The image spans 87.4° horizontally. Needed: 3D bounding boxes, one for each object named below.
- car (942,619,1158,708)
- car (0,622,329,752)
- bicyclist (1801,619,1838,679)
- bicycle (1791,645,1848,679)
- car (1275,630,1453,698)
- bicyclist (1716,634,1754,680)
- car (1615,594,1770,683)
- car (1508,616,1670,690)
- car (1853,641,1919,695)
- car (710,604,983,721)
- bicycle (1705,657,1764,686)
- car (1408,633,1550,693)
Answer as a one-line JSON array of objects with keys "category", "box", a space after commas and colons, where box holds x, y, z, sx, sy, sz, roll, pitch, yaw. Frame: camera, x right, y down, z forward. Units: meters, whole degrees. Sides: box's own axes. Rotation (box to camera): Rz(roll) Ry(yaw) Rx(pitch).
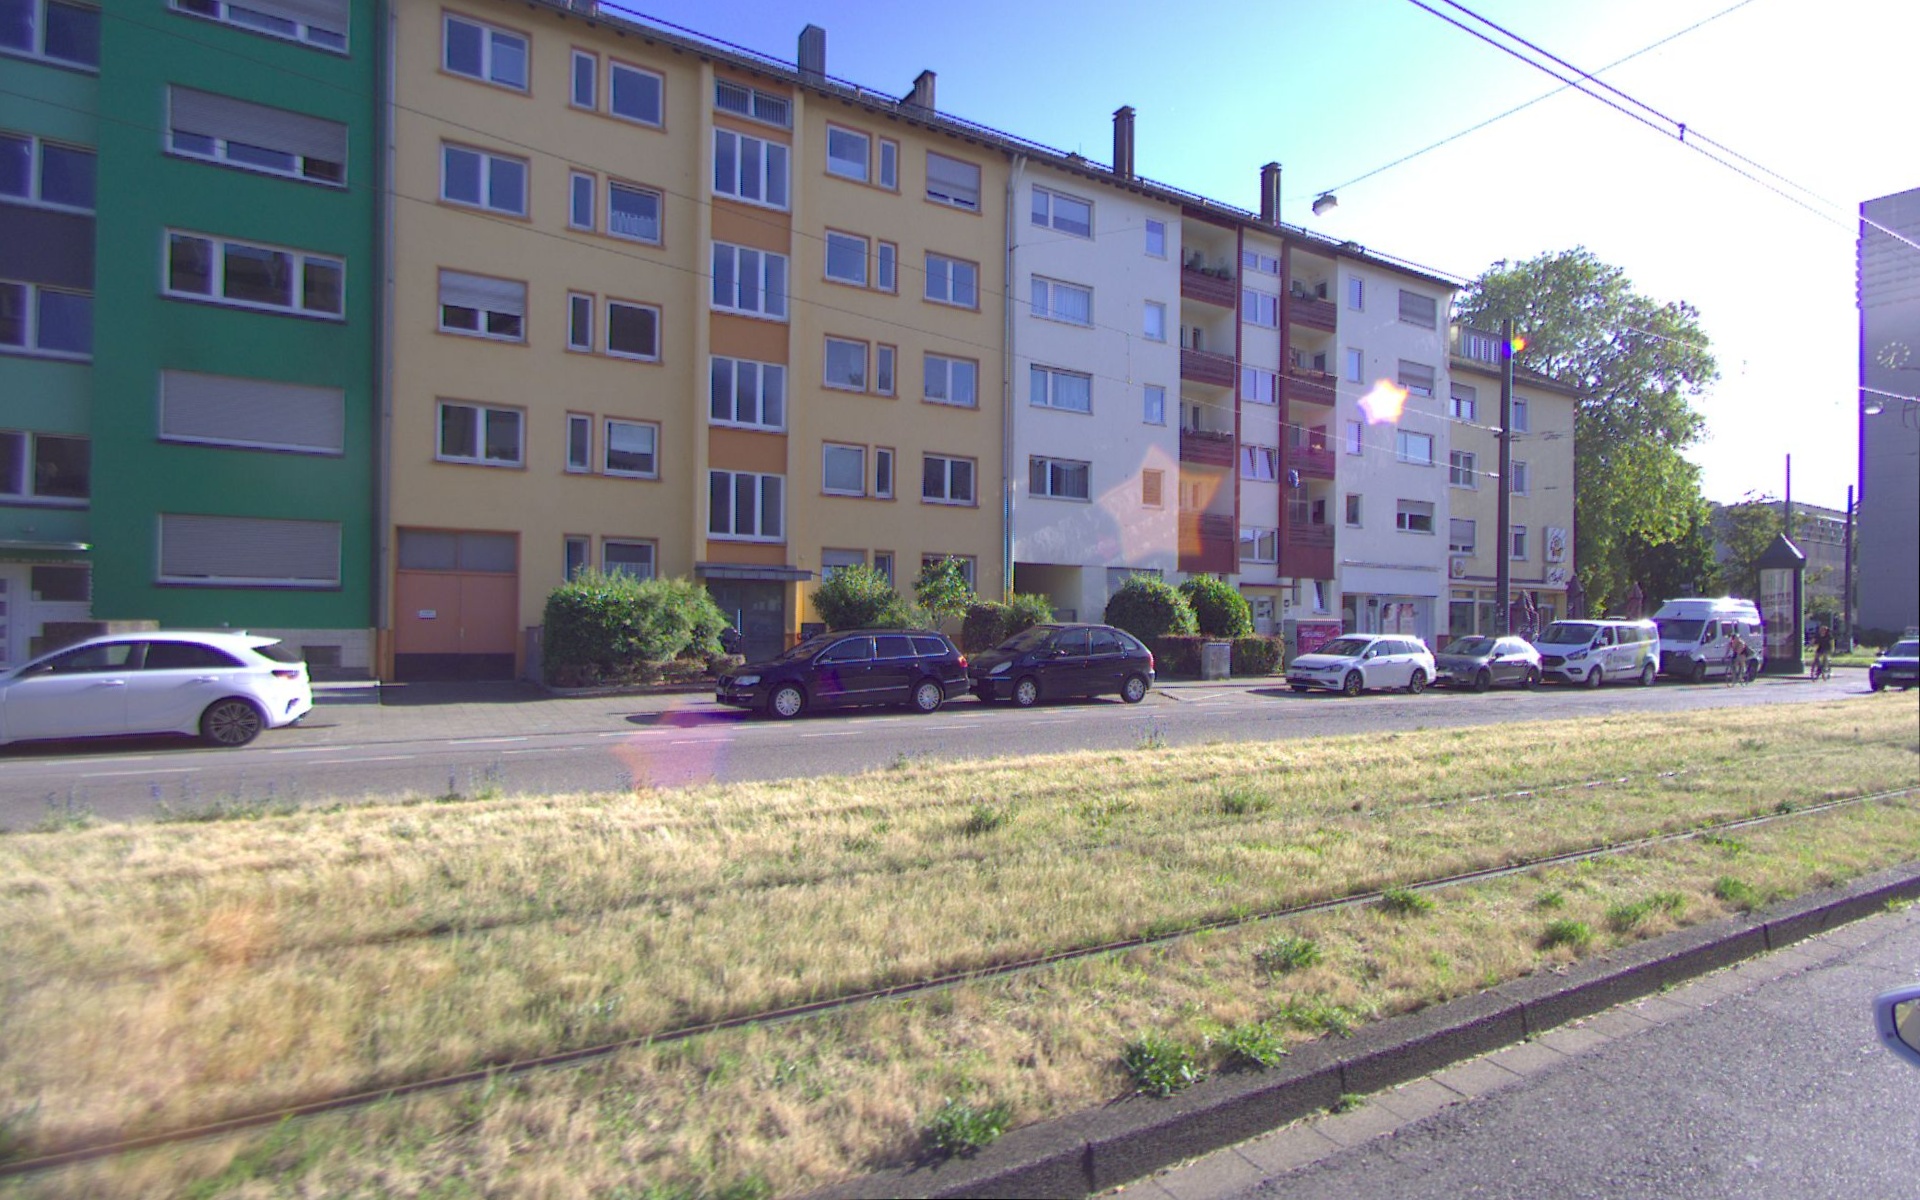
[{"category": "car", "box": [1.902, 1.275, 20.990, 4.103, 1.629, 1.983, 2, 0, -31]}, {"category": "car", "box": [-10.796, 1.062, 13.026, 4.325, 1.474, 1.720, 2, 0, -31]}, {"category": "bicyclist", "box": [30.422, 1.722, 35.549, 0.640, 2.041, 0.769, 1, 1, -30]}, {"category": "bicycle", "box": [30.372, 2.188, 35.500, 2.446, 1.161, 0.765, 2, -3, -31]}, {"category": "car", "box": [10.415, 1.594, 25.793, 4.652, 1.511, 1.881, 2, 1, -33]}, {"category": "bicyclist", "box": [24.366, 1.772, 31.566, 0.640, 1.402, 0.769, 1, -1, -30]}, {"category": "car", "box": [25.634, 1.320, 35.093, 6.154, 2.907, 2.023, 2, 0, -30]}, {"category": "car", "box": [19.827, 1.634, 31.595, 5.306, 2.048, 2.022, 2, 1, -30]}, {"category": "car", "box": [27.470, 1.902, 28.695, 4.167, 1.467, 1.687, 2, -2, -30]}, {"category": "car", "box": [-2.041, 1.080, 18.439, 4.556, 1.862, 1.983, 2, 1, -31]}, {"category": "bicycle", "box": [24.328, 2.234, 31.550, 2.045, 0.891, 0.765, 2, -3, -31]}, {"category": "car", "box": [14.731, 1.739, 28.435, 4.281, 1.535, 1.684, 2, 0, -34]}]
